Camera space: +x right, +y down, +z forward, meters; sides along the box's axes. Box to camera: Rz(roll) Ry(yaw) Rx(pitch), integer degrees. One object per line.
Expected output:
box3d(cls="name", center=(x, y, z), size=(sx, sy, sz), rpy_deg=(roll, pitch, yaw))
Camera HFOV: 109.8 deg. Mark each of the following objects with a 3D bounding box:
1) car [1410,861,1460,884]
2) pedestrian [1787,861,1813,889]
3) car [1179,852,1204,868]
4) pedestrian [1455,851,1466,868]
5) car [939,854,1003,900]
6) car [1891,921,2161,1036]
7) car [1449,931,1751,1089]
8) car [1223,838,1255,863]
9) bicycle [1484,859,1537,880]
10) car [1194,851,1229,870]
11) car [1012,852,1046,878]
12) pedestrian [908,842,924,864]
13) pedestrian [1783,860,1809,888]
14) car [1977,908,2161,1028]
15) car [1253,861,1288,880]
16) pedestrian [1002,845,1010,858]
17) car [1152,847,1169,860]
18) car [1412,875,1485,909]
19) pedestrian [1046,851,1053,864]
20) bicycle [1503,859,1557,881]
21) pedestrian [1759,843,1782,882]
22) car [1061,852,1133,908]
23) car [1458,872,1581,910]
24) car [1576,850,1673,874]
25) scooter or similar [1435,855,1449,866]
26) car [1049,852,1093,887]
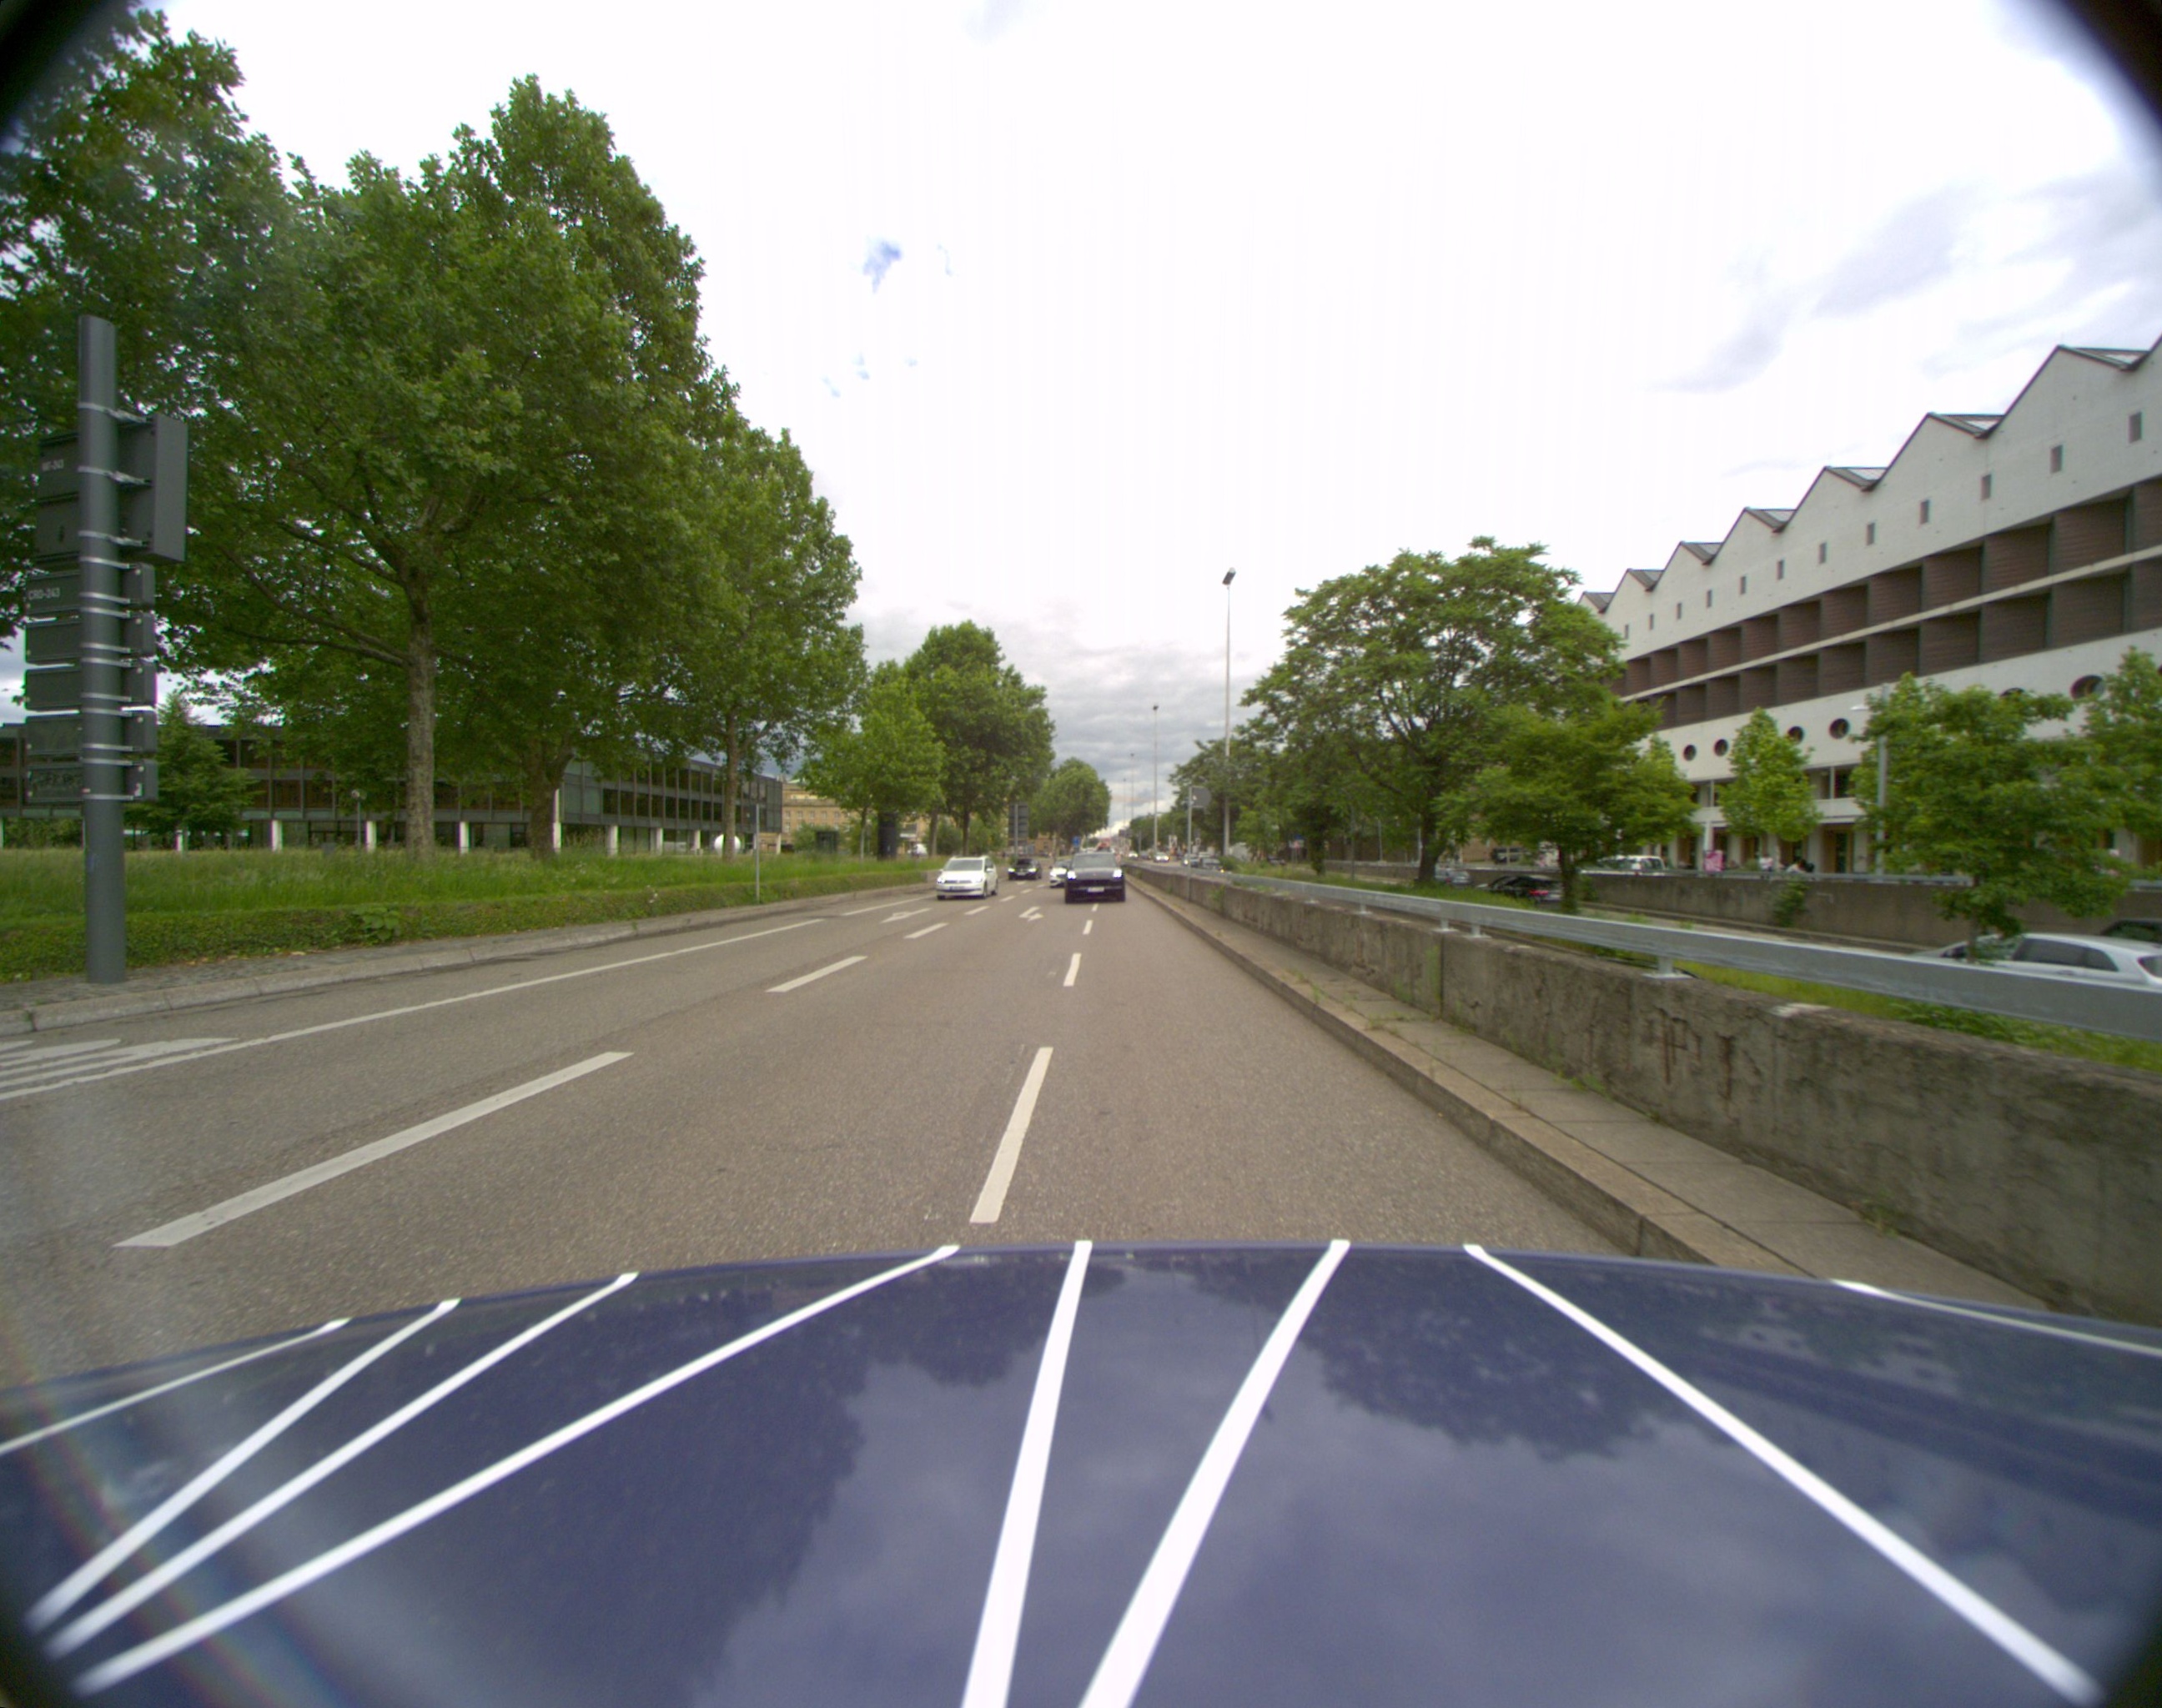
box3d(cls="car", center=(28.971, 1.469, 62.359), size=(1.862, 1.707, 4.390), rpy_deg=(1, 0, -2))
box3d(cls="pedestrian", center=(41.884, 1.245, 44.276), size=(0.636, 1.514, 0.909), rpy_deg=(7, -1, -41))
box3d(cls="car", center=(11.213, 0.591, 77.500), size=(1.998, 1.636, 4.000), rpy_deg=(-1, 0, 1))
box3d(cls="pedestrian", center=(36.062, 0.514, 72.248), size=(0.884, 1.548, 0.596), rpy_deg=(0, 1, -41))
box3d(cls="car", center=(-4.205, 0.848, 29.527), size=(1.695, 1.585, 4.000), rpy_deg=(0, 1, 3))
box3d(cls="car", center=(17.435, 2.103, 13.666), size=(1.702, 1.265, 3.819), rpy_deg=(-2, 2, 1))
box3d(cls="car", center=(7.710, 2.221, 11.875), size=(1.768, 1.507, 4.151), rpy_deg=(-1, 1, -3))
box3d(cls="car", center=(17.399, -0.392, 83.993), size=(2.330, 2.511, 6.056), rpy_deg=(-2, 2, 2))
box3d(cls="bicycle", center=(35.503, 1.237, 62.850), size=(3.622, 1.674, 1.183), rpy_deg=(1, 0, 0))
box3d(cls="car", center=(10.643, 0.516, 62.232), size=(1.998, 1.474, 4.809), rpy_deg=(0, 0, 0))
box3d(cls="car", center=(-3.411, 0.702, 50.525), size=(2.062, 1.616, 4.600), rpy_deg=(-2, 0, -2))
box3d(cls="pedestrian", center=(-14.186, -0.080, 65.365), size=(1.029, 1.826, 1.000), rpy_deg=(-2, 1, 3))
box3d(cls="pedestrian", center=(40.773, 1.155, 43.324), size=(0.636, 1.514, 0.909), rpy_deg=(7, -2, -41))
box3d(cls="car", center=(20.606, 2.199, 14.241), size=(1.822, 1.886, 4.903), rpy_deg=(-2, 1, 0))
box3d(cls="car", center=(16.477, 1.425, 66.209), size=(1.906, 1.478, 3.998), rpy_deg=(-2, 1, -3))
box3d(cls="pedestrian", center=(-9.645, -0.347, 97.472), size=(0.803, 1.617, 0.626), rpy_deg=(1, 1, 9))
box3d(cls="car", center=(11.525, -0.095, 110.268), size=(1.862, 1.707, 4.445), rpy_deg=(1, 0, 0))
box3d(cls="car", center=(20.711, 2.102, 42.999), size=(1.883, 1.529, 4.579), rpy_deg=(-2, 1, 0))
box3d(cls="pedestrian", center=(-4.039, 0.431, 97.305), size=(0.699, 1.646, 0.684), rpy_deg=(-2, 1, 1))
box3d(cls="bicycle", center=(35.772, 1.293, 60.571), size=(3.622, 1.674, 1.183), rpy_deg=(1, 0, 0))
box3d(cls="pedestrian", center=(36.216, 0.433, 39.922), size=(0.634, 2.002, 0.630), rpy_deg=(-2, 1, 2))
box3d(cls="car", center=(0.436, 0.787, 25.188), size=(2.062, 1.616, 4.600), rpy_deg=(-2, 0, -2))
box3d(cls="car", center=(17.165, 1.401, 30.091), size=(1.999, 1.136, 4.848), rpy_deg=(-2, 1, -1))
box3d(cls="car", center=(29.271, 0.385, 41.150), size=(1.814, 1.112, 4.807), rpy_deg=(-2, 1, 0))
box3d(cls="scooter or similar", center=(43.933, 0.790, 92.383), size=(1.418, 1.333, 0.538), rpy_deg=(0, 1, 1))
box3d(cls="car", center=(-0.549, 0.749, 38.735), size=(2.062, 1.616, 4.600), rpy_deg=(-2, 0, -2))
